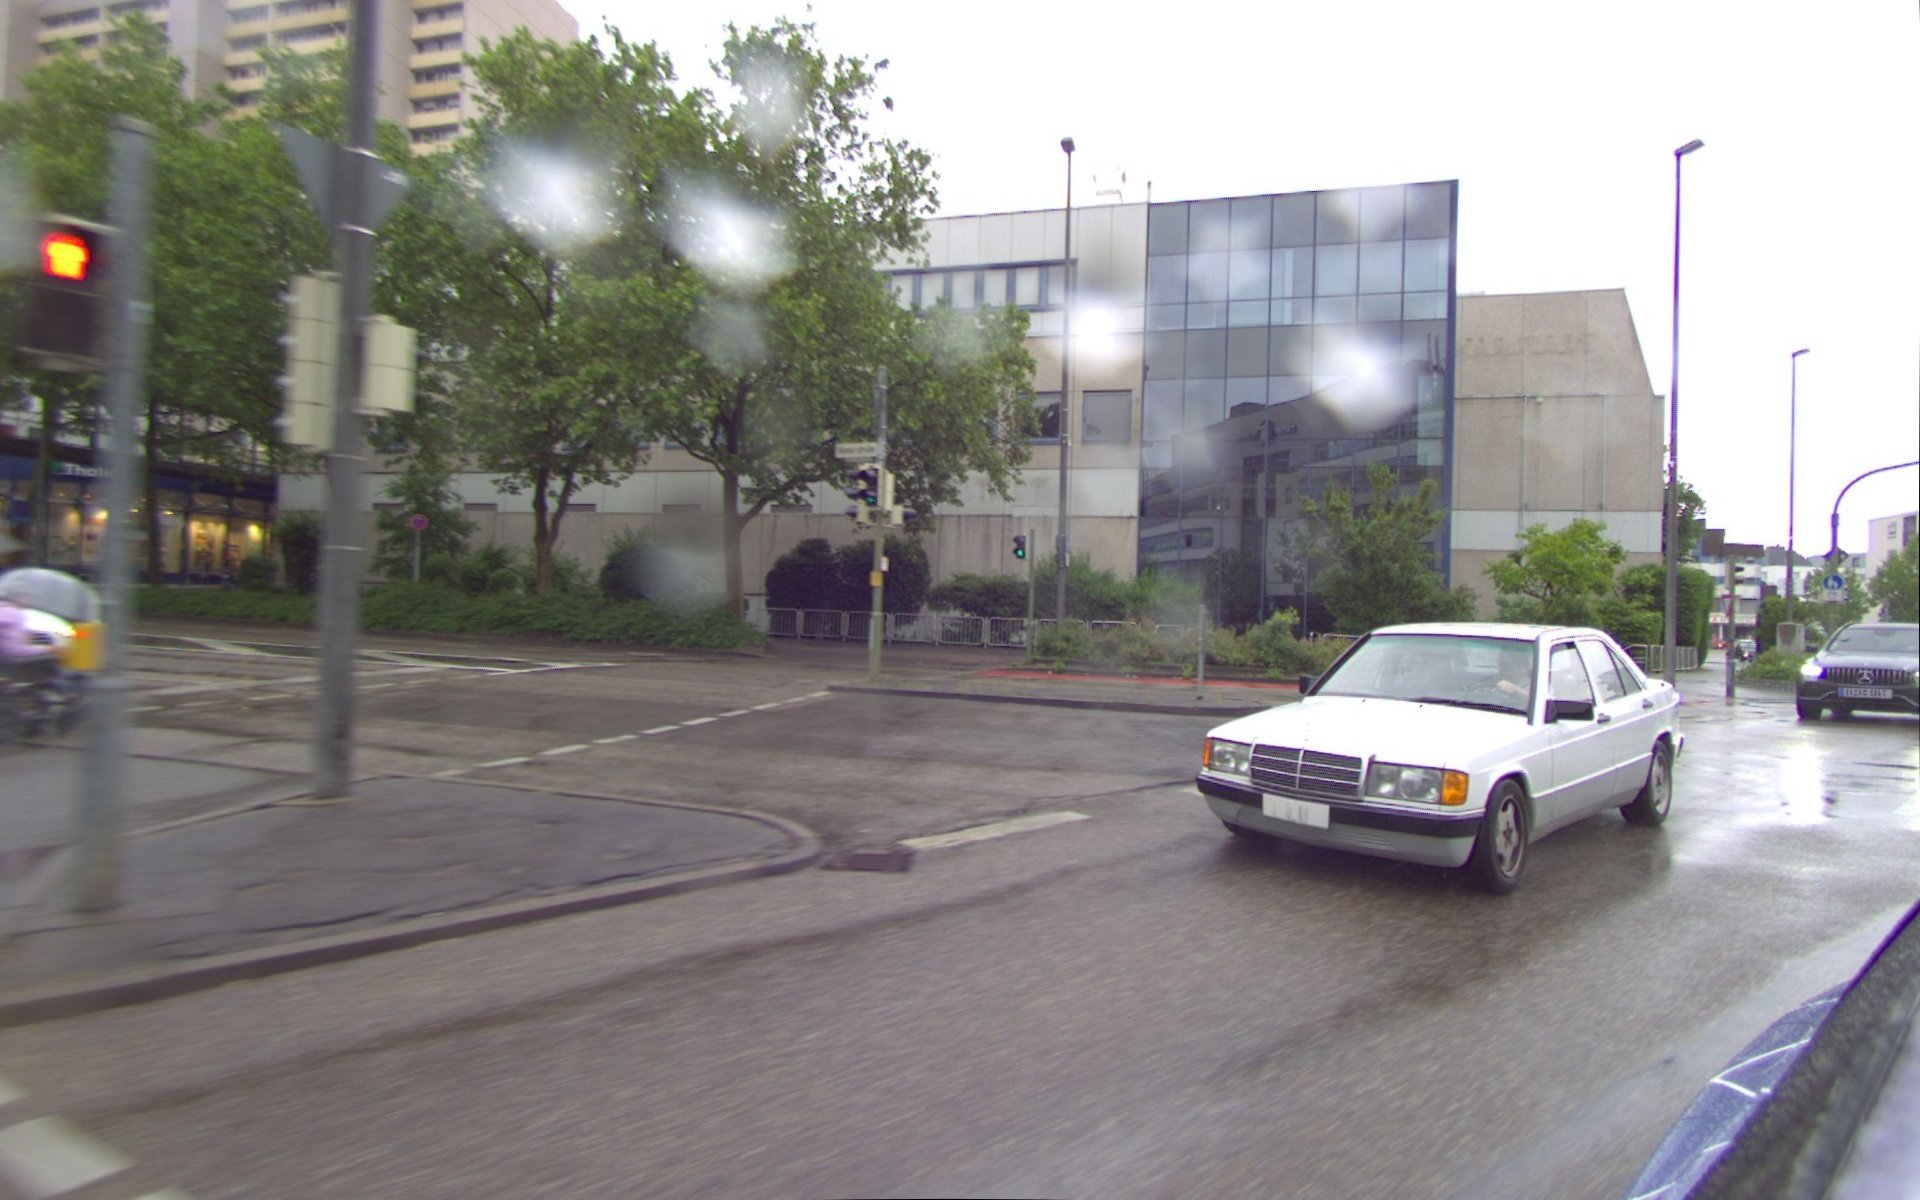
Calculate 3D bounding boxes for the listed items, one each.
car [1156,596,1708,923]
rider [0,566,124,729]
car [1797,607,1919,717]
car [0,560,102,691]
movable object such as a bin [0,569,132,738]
[{"bbox_3d":[3.269,0.767,6.577,4.192,1.467,1.637,2,-1,-40],"label":"car"},{"bbox_3d":[-8.057,0.393,8.847,1.071,1.300,0.924,4,1,-41],"label":"rider"},{"bbox_3d":[15.489,0.990,16.969,1.901,1.642,4.265,0,-2,44],"label":"car"},{"bbox_3d":[-12.831,0.195,11.981,4.724,1.424,1.803,2,1,17],"label":"car"},{"bbox_3d":[-8.192,0.431,8.850,1.429,1.348,1.132,0,3,-41],"label":"movable object such as a bin"}]
